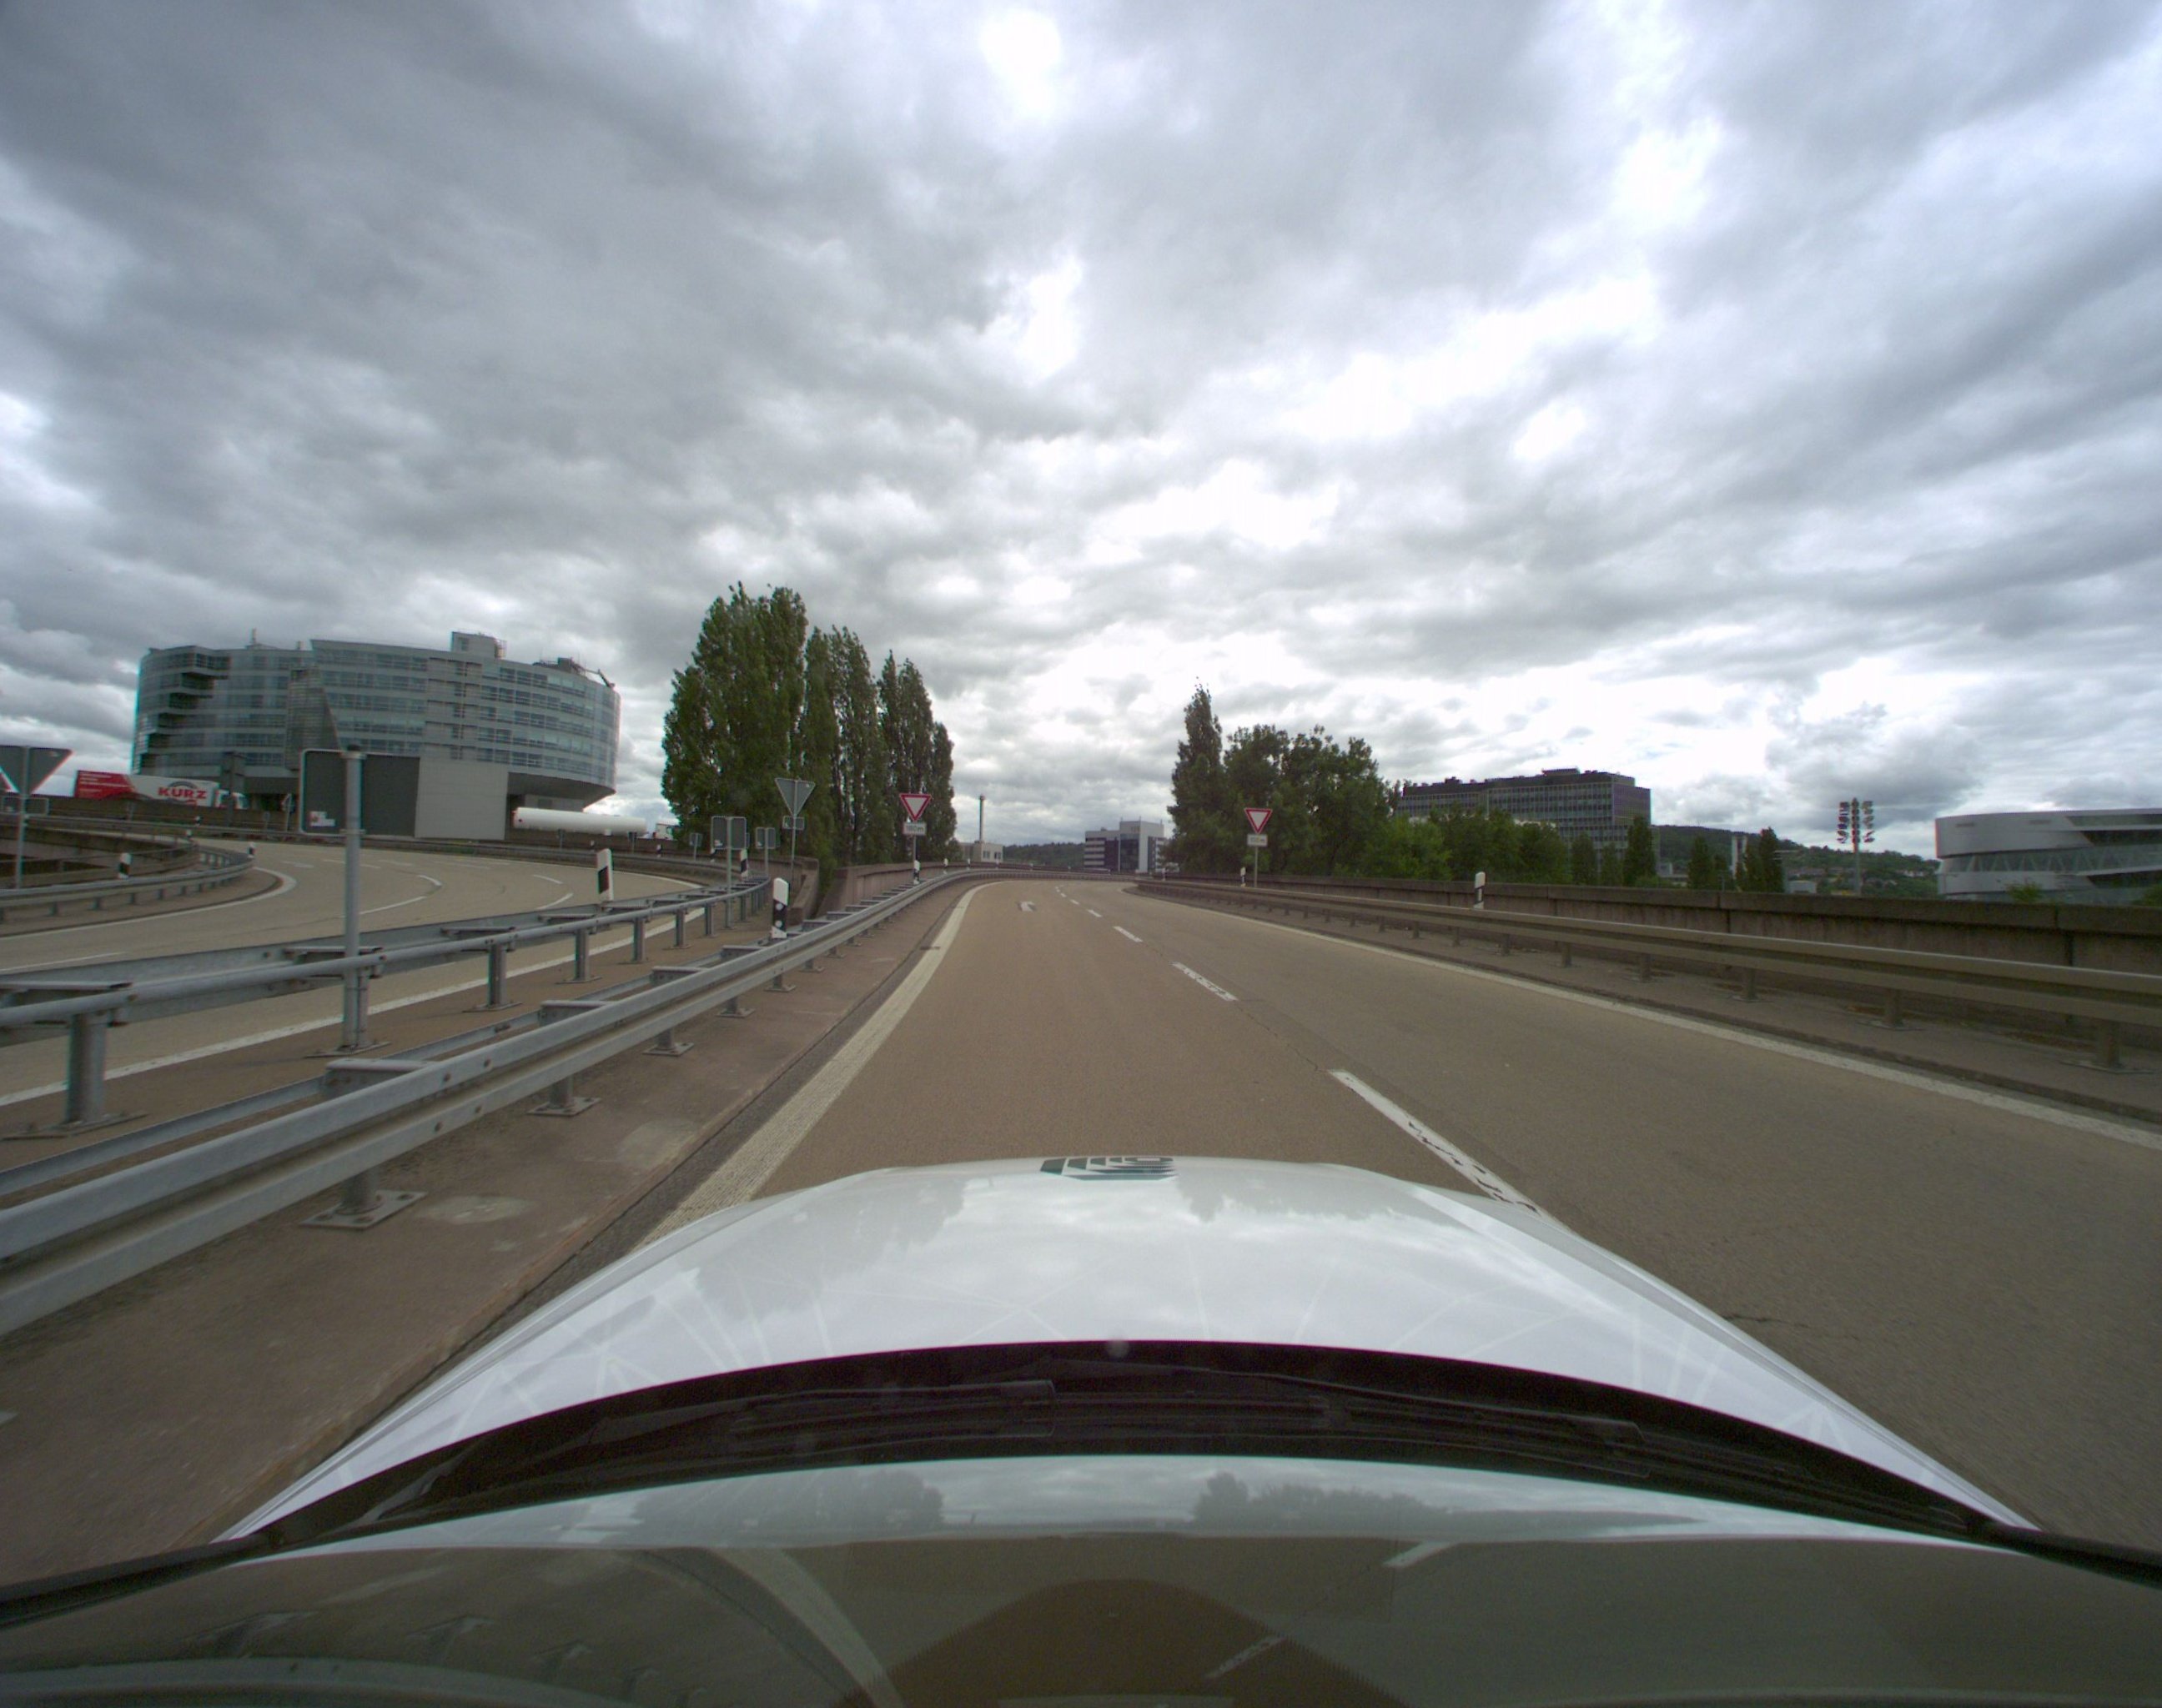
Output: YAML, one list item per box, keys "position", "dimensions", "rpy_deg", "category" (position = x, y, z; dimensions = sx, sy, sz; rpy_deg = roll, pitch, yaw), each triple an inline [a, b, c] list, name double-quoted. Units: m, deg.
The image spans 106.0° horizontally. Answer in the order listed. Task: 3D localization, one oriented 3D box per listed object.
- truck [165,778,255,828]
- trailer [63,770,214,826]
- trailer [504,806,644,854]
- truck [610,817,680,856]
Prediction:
- position: [-73.583, -4.248, 68.938]
  dimensions: [4.454, 3.691, 2.672]
  rpy_deg: [4, -4, -33]
  category: "truck"
- position: [-76.938, -4.479, 66.734]
  dimensions: [7.338, 3.691, 2.671]
  rpy_deg: [4, -4, -33]
  category: "trailer"
- position: [-49.227, -2.235, 79.472]
  dimensions: [11.191, 3.738, 2.772]
  rpy_deg: [4, -4, -32]
  category: "trailer"
- position: [-44.215, -1.754, 82.630]
  dimensions: [5.984, 3.431, 2.750]
  rpy_deg: [4, -4, -32]
  category: "truck"
